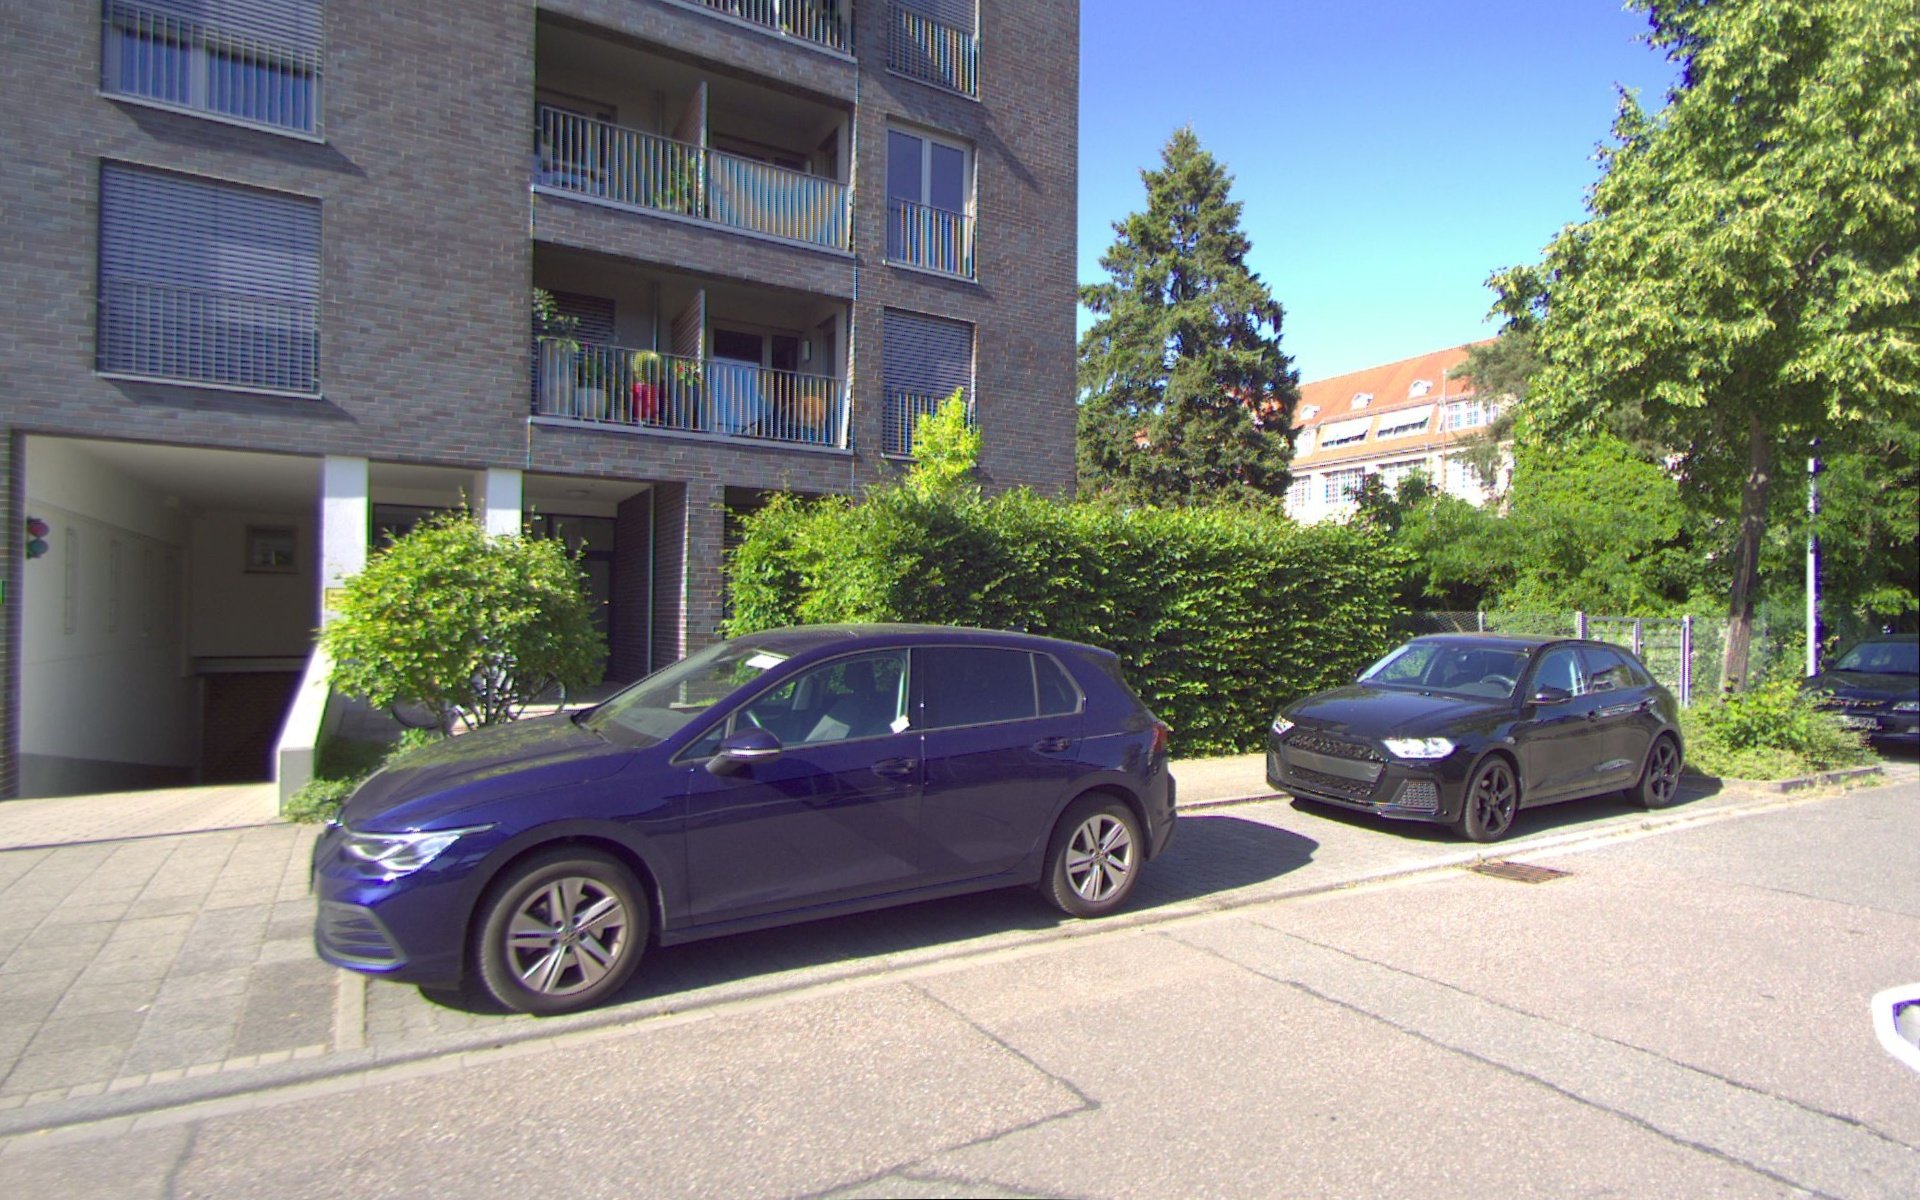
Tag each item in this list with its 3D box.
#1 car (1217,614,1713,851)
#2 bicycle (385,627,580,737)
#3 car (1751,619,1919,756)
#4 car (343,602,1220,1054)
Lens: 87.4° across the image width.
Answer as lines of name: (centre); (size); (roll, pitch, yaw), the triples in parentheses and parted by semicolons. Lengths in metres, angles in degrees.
car: (4.274, 0.923, 8.386); (3.981, 1.493, 1.831); (1, 1, -31)
bicycle: (-5.159, 0.858, 10.887); (1.853, 1.089, 0.637); (1, 0, -31)
car: (12.408, 1.057, 13.107); (4.309, 1.493, 1.831); (1, 1, -31)
car: (-0.793, 0.820, 5.241); (4.052, 1.493, 1.831); (1, 1, -31)
